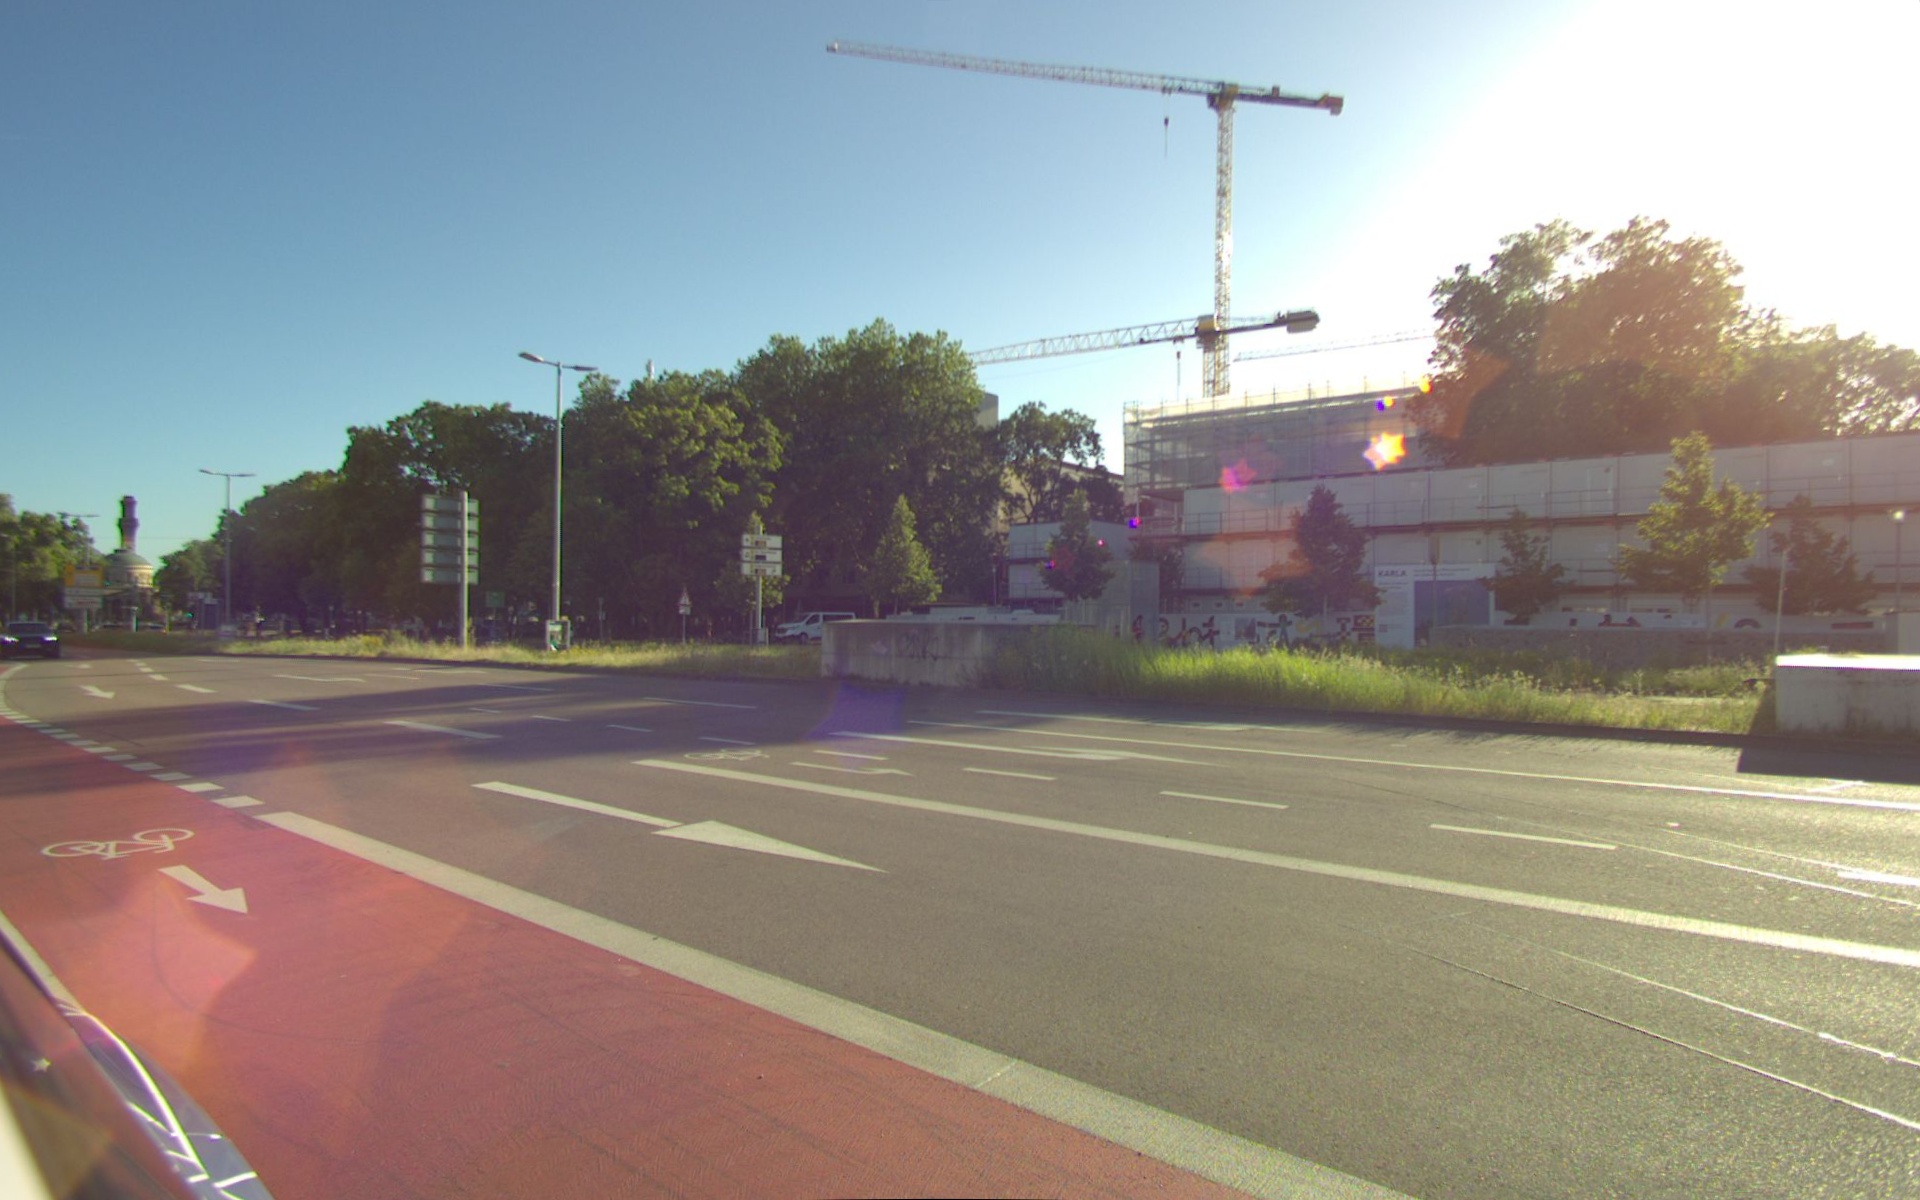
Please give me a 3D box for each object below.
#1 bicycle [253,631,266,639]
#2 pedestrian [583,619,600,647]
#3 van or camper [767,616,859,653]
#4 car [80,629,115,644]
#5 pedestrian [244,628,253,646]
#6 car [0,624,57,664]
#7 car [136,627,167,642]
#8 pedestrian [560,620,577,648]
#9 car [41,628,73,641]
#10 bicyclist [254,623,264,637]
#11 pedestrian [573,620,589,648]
[{"bbox_3d":[-69.263,3.445,100.012,1.744,0.849,0.602,-1,-2,40],"label":"bicycle"},{"bbox_3d":[-23.336,2.102,64.046,0.762,1.738,0.698,-1,-2,41],"label":"pedestrian"},{"bbox_3d":[-8.934,2.050,61.942,1.948,2.029,5.576,-1,0,42],"label":"van or camper"},{"bbox_3d":[-81.384,3.447,95.496,3.996,1.409,1.849,-1,-2,40],"label":"car"},{"bbox_3d":[-74.345,3.827,105.740,0.925,1.862,0.619,-2,-2,43],"label":"pedestrian"},{"bbox_3d":[-41.320,1.904,44.524,4.616,1.656,1.912,-1,-1,42],"label":"car"},{"bbox_3d":[-84.571,3.589,105.869,4.000,1.519,1.972,-1,-2,43],"label":"car"},{"bbox_3d":[-24.460,2.132,63.258,0.762,1.738,0.698,-1,-2,41],"label":"pedestrian"},{"bbox_3d":[-94.617,3.599,106.035,3.995,1.409,1.849,-1,-2,39],"label":"car"},{"bbox_3d":[-69.261,2.967,100.026,0.714,1.291,0.603,-1,-2,40],"label":"bicyclist"},{"bbox_3d":[-23.842,2.110,63.677,0.762,1.738,0.656,-1,-2,41],"label":"pedestrian"}]
